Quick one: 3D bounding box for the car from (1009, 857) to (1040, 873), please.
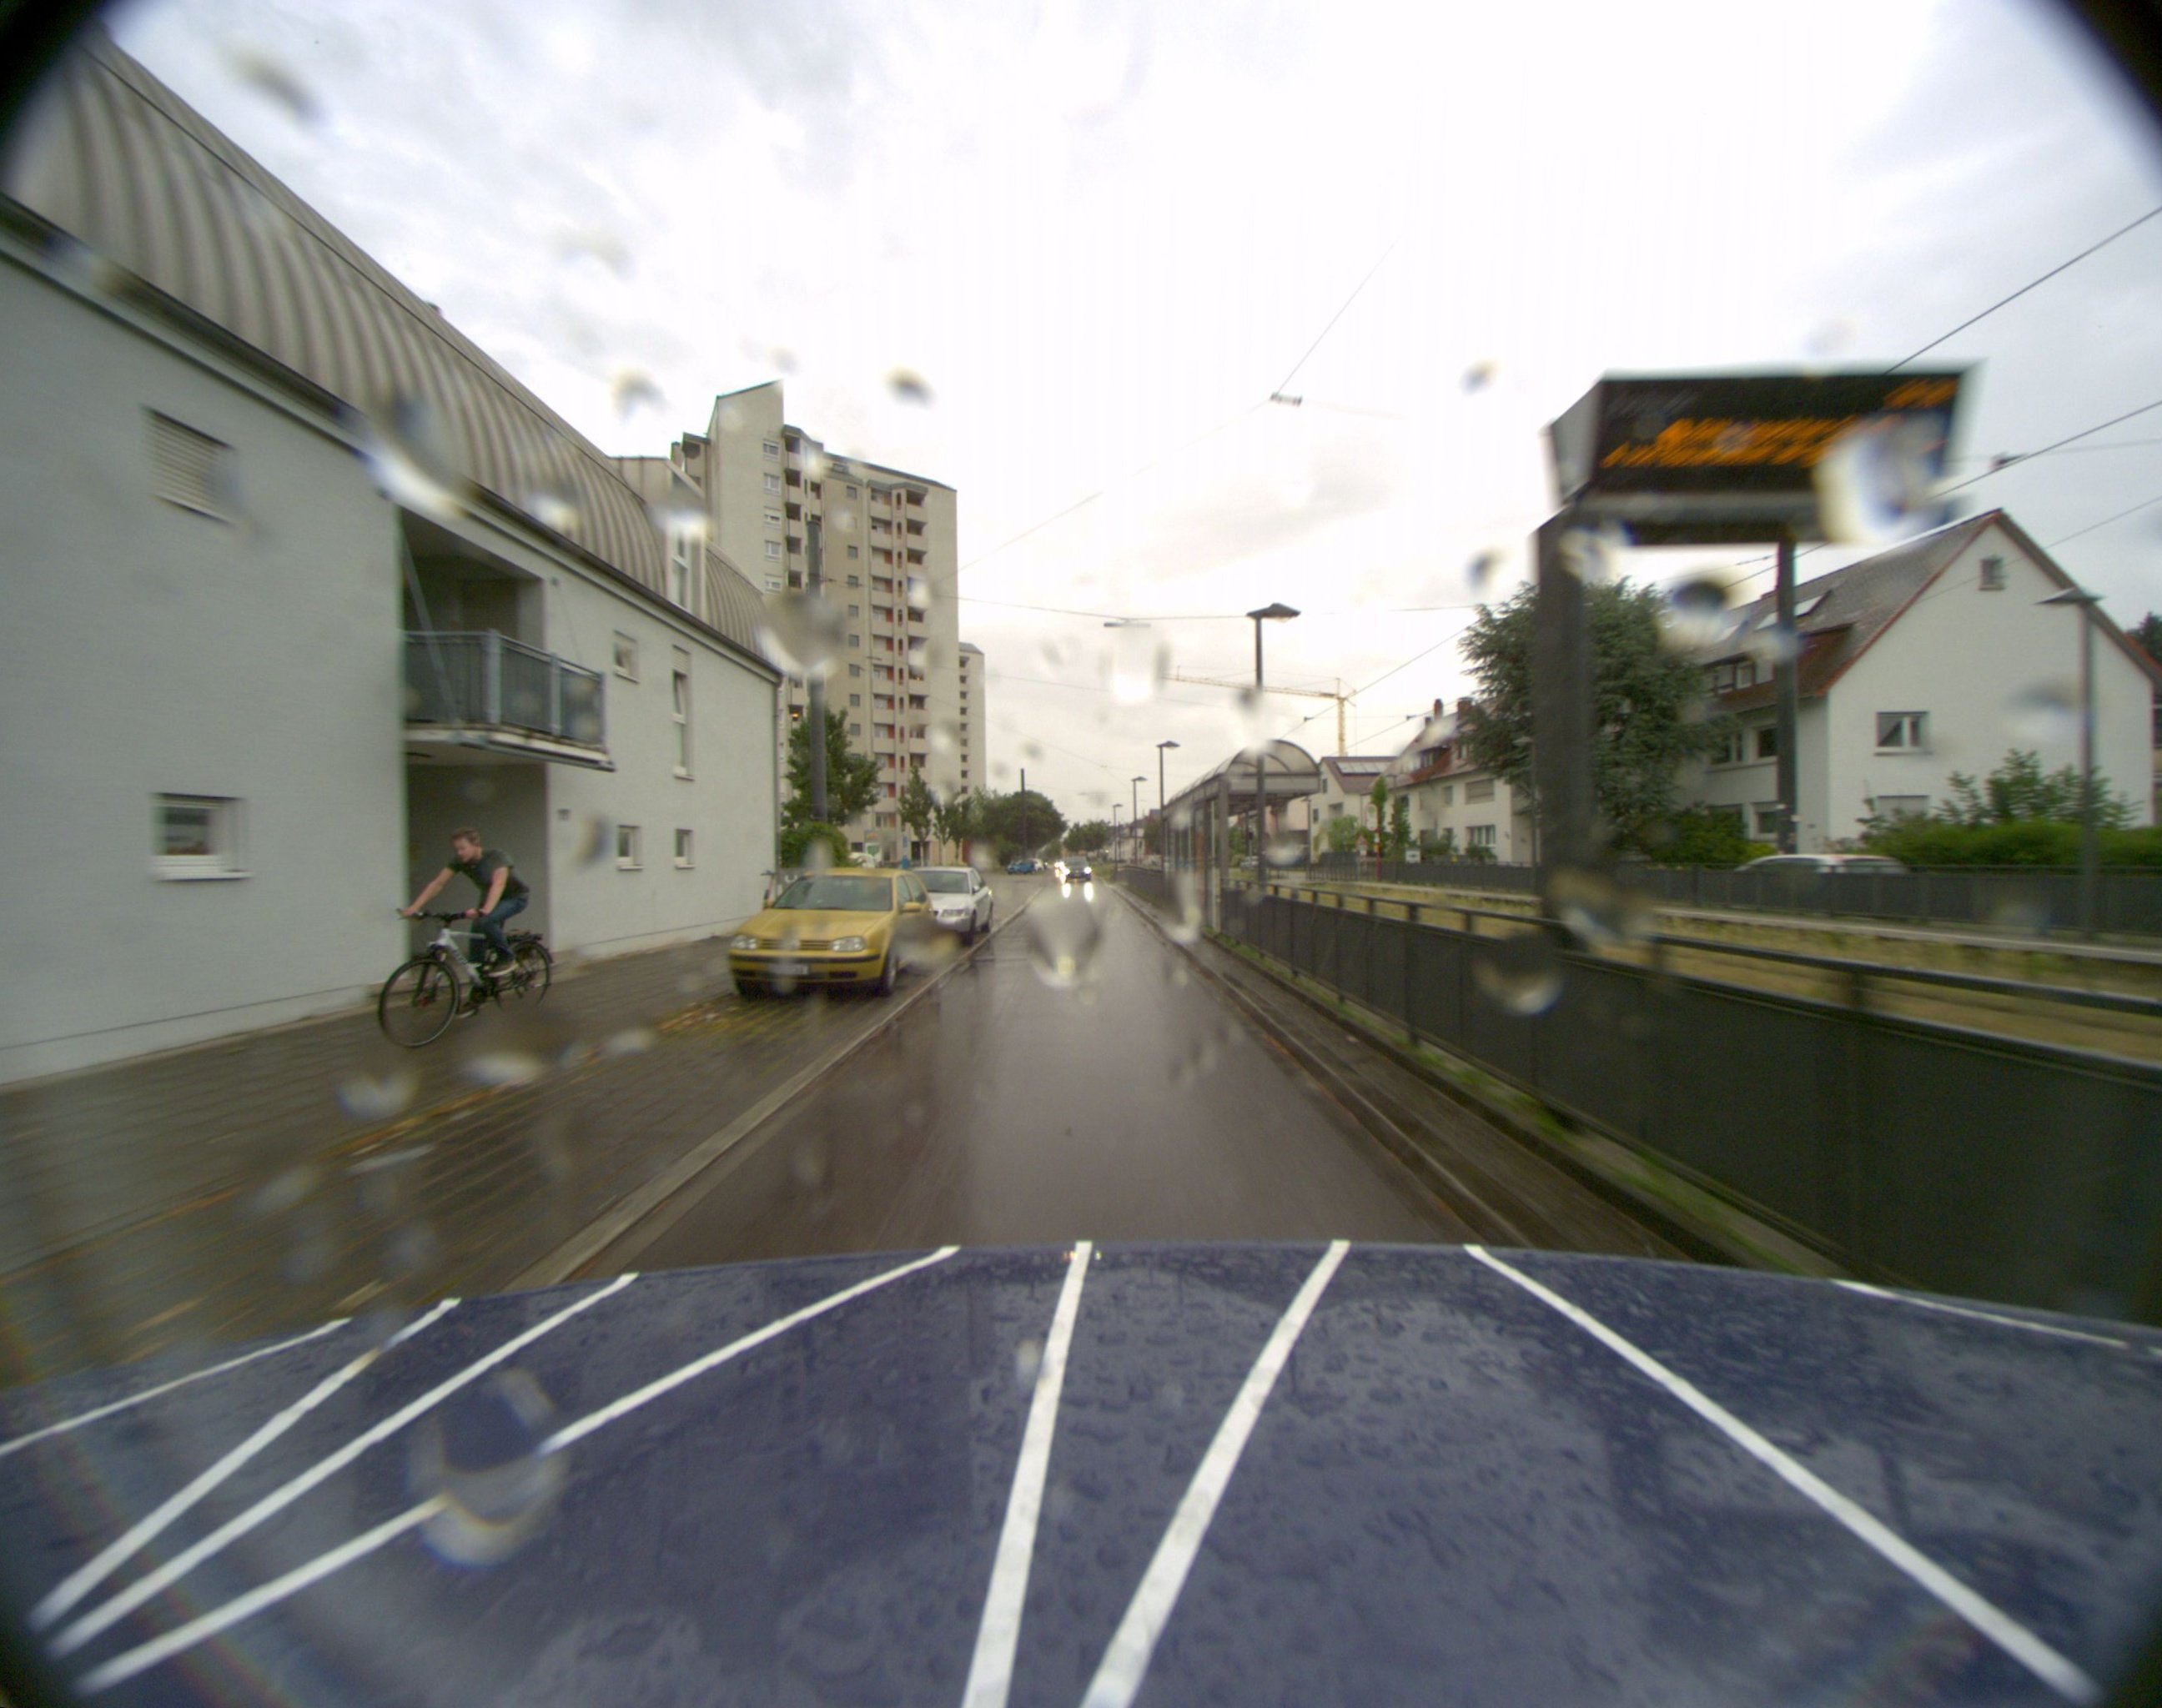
[{"bbox_3d":[-5.609,1.108,75.535,2.570,1.539,1.598,-1,1,-41],"label":"car"}]

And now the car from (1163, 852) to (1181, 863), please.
[{"bbox_3d":[14.053,0.561,117.308,1.999,1.401,4.174,-2,-1,-3],"label":"car"}]

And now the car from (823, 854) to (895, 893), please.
[{"bbox_3d":[-10.902,0.927,37.702,1.968,1.773,4.898,-2,-1,2],"label":"car"}]

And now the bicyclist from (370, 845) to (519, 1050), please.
[{"bbox_3d":[-5.146,0.709,6.194,0.535,1.550,0.772,-2,1,-8],"label":"bicyclist"}]

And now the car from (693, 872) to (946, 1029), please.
[{"bbox_3d":[-2.994,1.020,9.598,1.811,1.397,3.793,2,1,1],"label":"car"}]

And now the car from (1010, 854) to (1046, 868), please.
[{"bbox_3d":[-6.940,0.914,99.520,4.471,1.661,1.808,2,-2,-40],"label":"car"}]

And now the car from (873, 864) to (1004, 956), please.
[{"bbox_3d":[-2.657,0.980,15.208,1.654,1.397,4.649,2,1,1],"label":"car"}]

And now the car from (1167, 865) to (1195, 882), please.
[{"bbox_3d":[9.733,1.860,74.096,1.999,1.405,3.656,-2,1,-3],"label":"car"}]

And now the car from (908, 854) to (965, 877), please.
[{"bbox_3d":[-11.712,0.940,61.763,4.119,1.607,1.811,-2,0,-32],"label":"car"}]

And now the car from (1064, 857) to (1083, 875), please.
[{"bbox_3d":[-0.804,1.238,81.018,1.999,1.761,3.999,-2,1,-1],"label":"car"}]

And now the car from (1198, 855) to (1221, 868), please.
[{"bbox_3d":[15.311,0.891,90.902,1.842,1.418,4.174,-2,-1,-3],"label":"car"}]

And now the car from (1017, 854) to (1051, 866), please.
[{"bbox_3d":[-6.593,0.857,106.021,4.470,1.419,1.680,2,-2,-35],"label":"car"}]

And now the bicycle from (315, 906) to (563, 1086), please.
[{"bbox_3d":[-5.142,1.060,6.282,0.538,1.087,1.947,-2,1,-7],"label":"bicycle"}]

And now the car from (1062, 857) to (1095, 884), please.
[{"bbox_3d":[-0.198,1.107,51.471,1.999,1.611,3.998,-2,1,-3],"label":"car"}]

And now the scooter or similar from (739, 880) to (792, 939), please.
[{"bbox_3d":[-6.381,1.107,15.435,0.334,1.079,1.396,-2,1,6],"label":"scooter or similar"}]

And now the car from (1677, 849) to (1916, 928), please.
[{"bbox_3d":[15.721,0.671,17.025,1.637,1.485,4.000,-2,1,1],"label":"car"}]

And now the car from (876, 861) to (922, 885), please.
[{"bbox_3d":[-12.277,1.263,51.145,2.003,1.433,3.991,-2,1,-29],"label":"car"}]

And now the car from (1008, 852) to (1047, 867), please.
[{"bbox_3d":[-5.948,0.621,84.710,4.195,1.538,1.760,3,-2,-41],"label":"car"}]

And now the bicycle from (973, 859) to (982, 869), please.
[{"bbox_3d":[-10.966,1.087,80.311,0.663,1.000,2.058,-2,1,-1],"label":"bicycle"}]
